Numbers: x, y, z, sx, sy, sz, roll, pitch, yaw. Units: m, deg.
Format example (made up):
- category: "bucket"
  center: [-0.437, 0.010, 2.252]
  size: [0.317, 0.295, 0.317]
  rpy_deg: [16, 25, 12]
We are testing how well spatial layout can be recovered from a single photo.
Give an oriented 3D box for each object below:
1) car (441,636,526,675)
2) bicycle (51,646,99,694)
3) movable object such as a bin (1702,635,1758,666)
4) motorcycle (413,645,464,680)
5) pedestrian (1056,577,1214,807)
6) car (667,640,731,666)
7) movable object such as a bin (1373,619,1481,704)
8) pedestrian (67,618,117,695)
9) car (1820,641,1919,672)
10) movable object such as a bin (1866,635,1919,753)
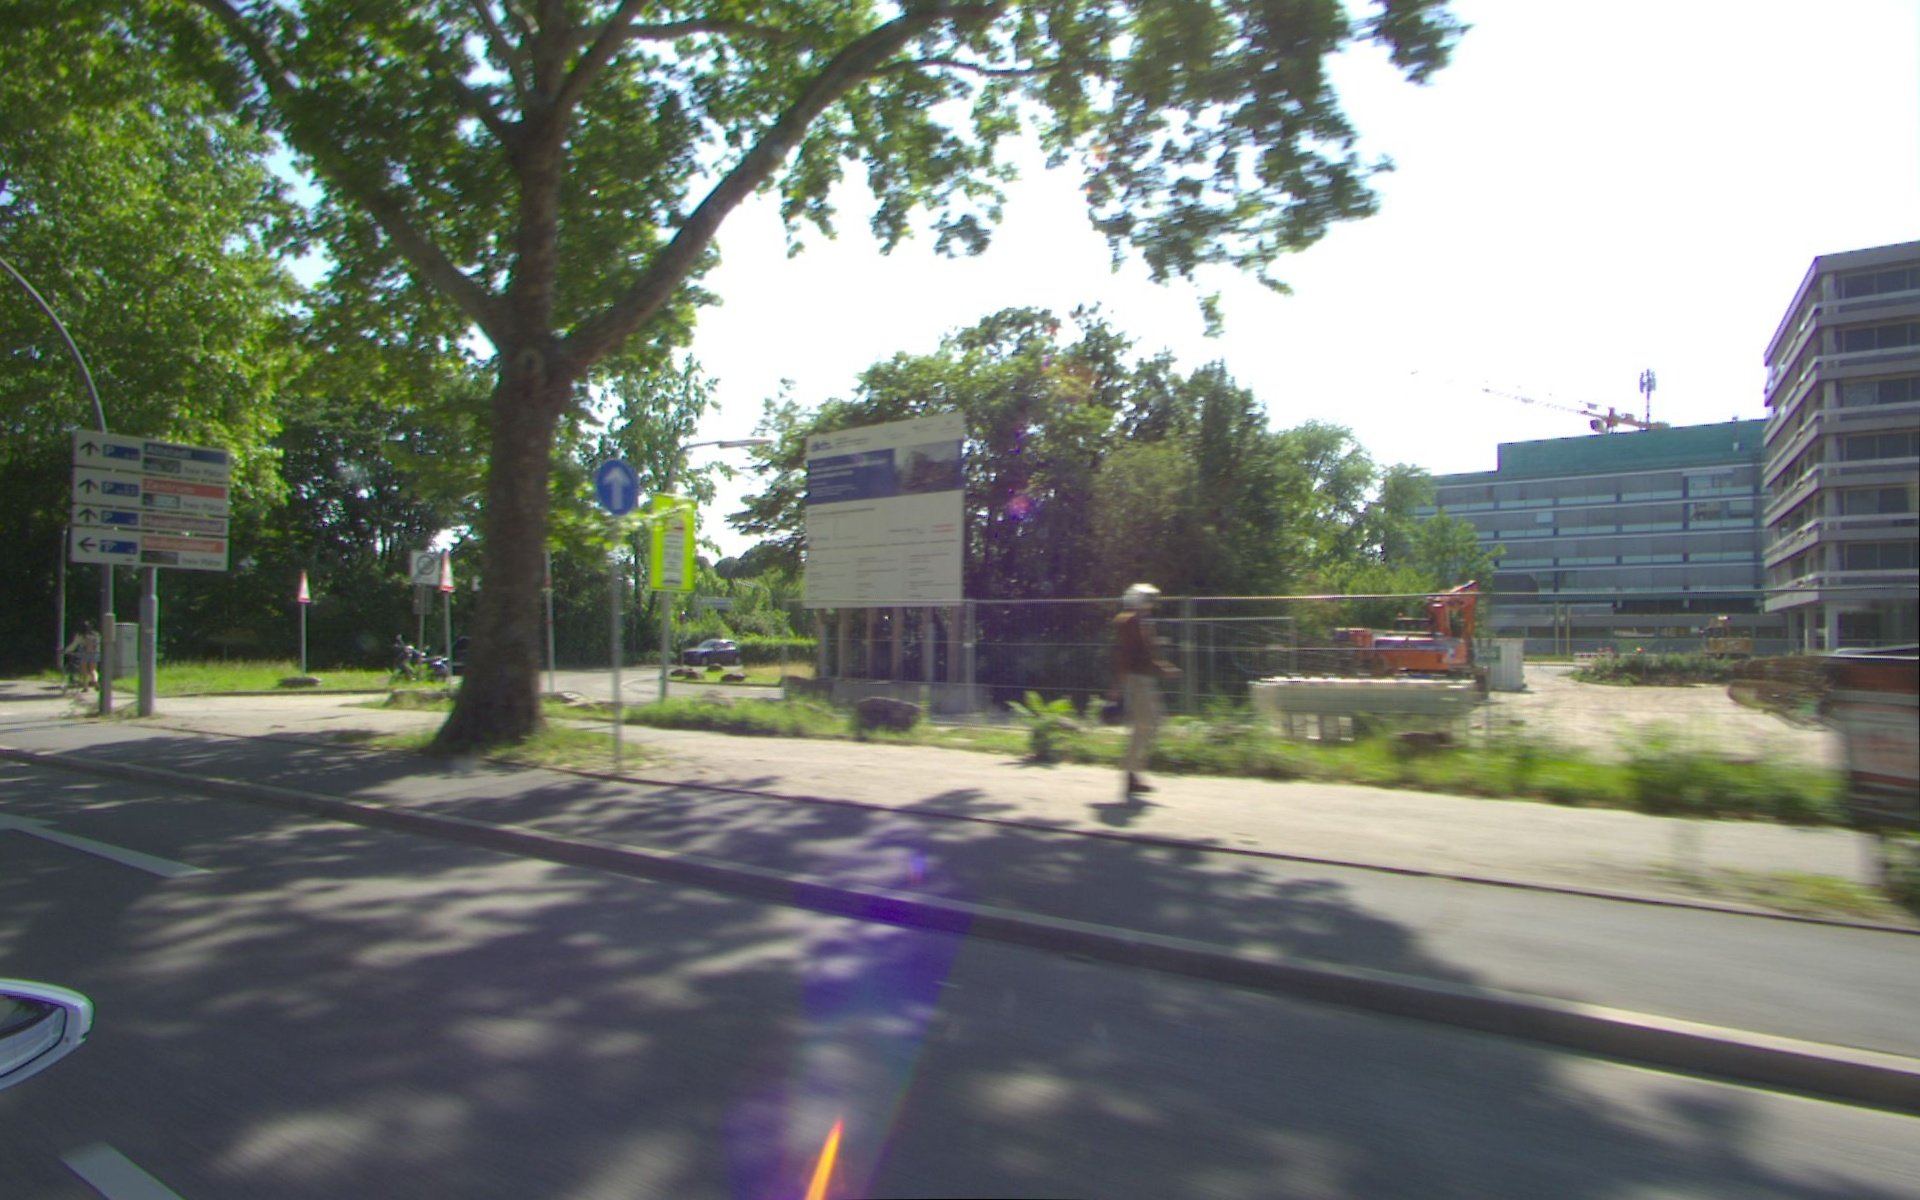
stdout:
- category: "car"
  center: [-19.257, 2.222, 40.635]
  size: [1.651, 1.472, 4.002]
  rpy_deg: [1, -2, -2]
- category: "bicycle"
  center: [-20.830, 1.632, 23.562]
  size: [1.674, 1.095, 0.349]
  rpy_deg: [-1, -2, 32]
- category: "movable object such as a bin"
  center: [51.797, 3.380, 67.425]
  size: [2.629, 2.039, 2.748]
  rpy_deg: [-1, -2, 30]
- category: "motorcycle"
  center: [-14.705, 1.756, 28.254]
  size: [0.463, 0.979, 1.220]
  rpy_deg: [0, -2, 25]
- category: "pedestrian"
  center: [1.586, 0.792, 9.034]
  size: [1.135, 1.916, 0.937]
  rpy_deg: [0, -2, 32]
- category: "car"
  center: [-15.553, 3.149, 59.858]
  size: [1.655, 1.472, 3.992]
  rpy_deg: [0, -3, 22]
- category: "movable object such as a bin"
  center: [18.173, 2.353, 38.842]
  size: [3.247, 3.012, 5.170]
  rpy_deg: [-1, -3, 32]
- category: "pedestrian"
  center: [-20.777, 1.342, 23.973]
  size: [0.861, 1.807, 0.631]
  rpy_deg: [0, -2, 31]
- category: "car"
  center: [54.005, 3.319, 59.309]
  size: [4.373, 1.794, 1.788]
  rpy_deg: [-1, -2, 33]
- category: "movable object such as a bin"
  center: [46.911, 4.086, 41.790]
  size: [6.637, 5.240, 11.763]
  rpy_deg: [1, -3, -16]
